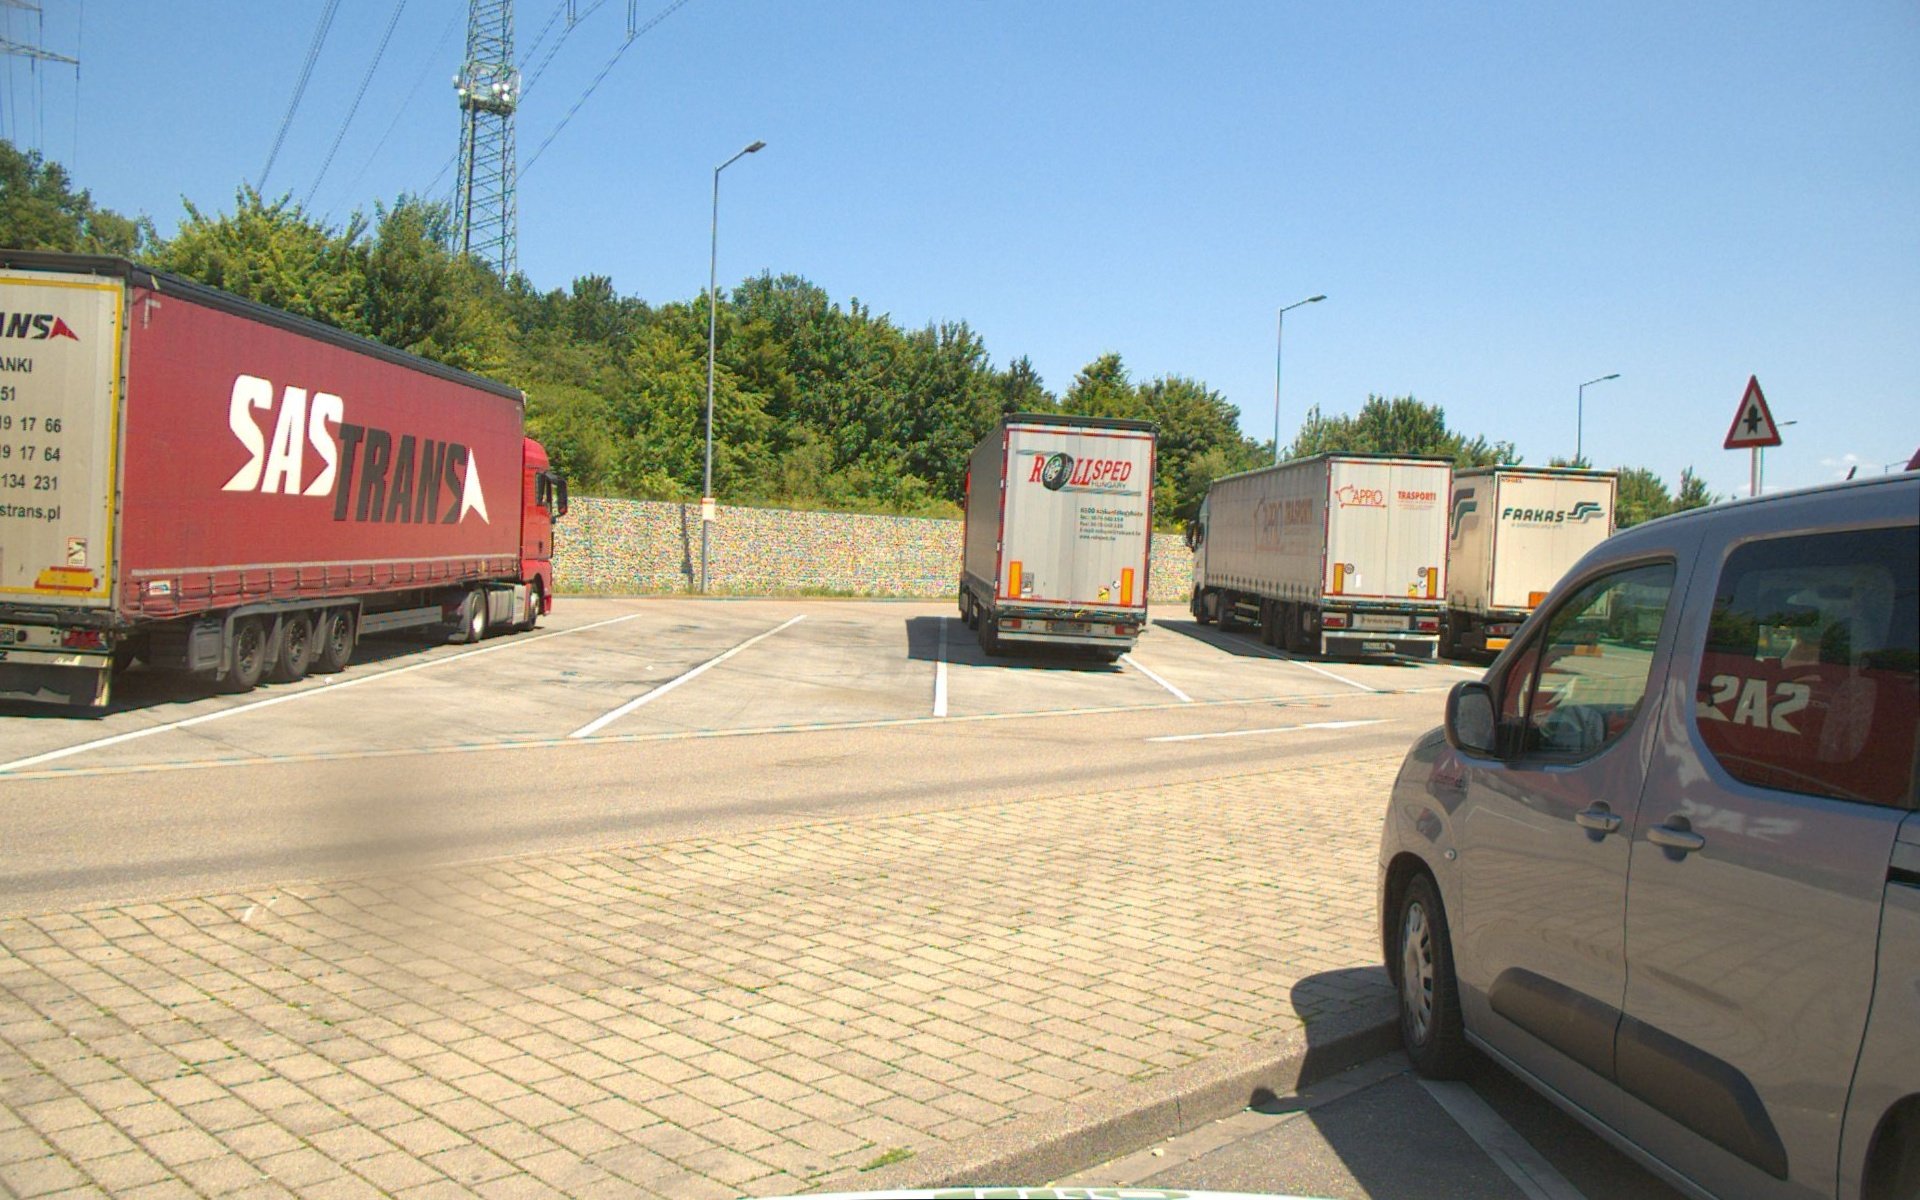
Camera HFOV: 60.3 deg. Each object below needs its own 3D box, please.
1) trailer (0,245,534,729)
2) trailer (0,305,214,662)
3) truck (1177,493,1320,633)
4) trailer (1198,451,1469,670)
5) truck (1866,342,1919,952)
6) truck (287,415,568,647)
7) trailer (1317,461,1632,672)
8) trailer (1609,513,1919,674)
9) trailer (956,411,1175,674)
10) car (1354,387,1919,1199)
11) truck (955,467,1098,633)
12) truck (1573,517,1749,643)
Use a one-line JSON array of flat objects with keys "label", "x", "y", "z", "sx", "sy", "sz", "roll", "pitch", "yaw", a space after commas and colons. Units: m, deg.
[{"label": "trailer", "x": -8.713, "y": -1.296, "z": 21.459, "sx": 2.735, "sy": 4.155, "sz": 14.131, "roll": 3, "pitch": 2, "yaw": -1}, {"label": "trailer", "x": -12.539, "y": -1.341, "z": 17.736, "sx": 2.739, "sy": 4.155, "sz": 14.131, "roll": 3, "pitch": 2, "yaw": -1}, {"label": "truck", "x": 8.066, "y": -1.103, "z": 46.974, "sx": 2.804, "sy": 3.582, "sz": 5.900, "roll": 3, "pitch": 2, "yaw": -1}, {"label": "trailer", "x": 8.184, "y": -1.038, "z": 38.874, "sx": 2.754, "sy": 4.058, "sz": 14.395, "roll": 3, "pitch": 2, "yaw": -1}, {"label": "truck", "x": 5.014, "y": 0.198, "z": 5.003, "sx": 1.937, "sy": 2.668, "sz": 5.307, "roll": 1, "pitch": 0, "yaw": 4}, {"label": "truck", "x": -8.778, "y": -1.158, "z": 28.029, "sx": 2.793, "sy": 3.385, "sz": 5.900, "roll": 3, "pitch": 2, "yaw": -1}, {"label": "trailer", "x": 11.746, "y": -0.944, "z": 39.979, "sx": 2.754, "sy": 4.058, "sz": 14.395, "roll": 3, "pitch": 2, "yaw": -1}, {"label": "trailer", "x": 21.856, "y": -0.400, "z": 44.530, "sx": 2.754, "sy": 3.568, "sz": 14.395, "roll": 3, "pitch": 2, "yaw": -1}, {"label": "trailer", "x": 1.671, "y": -1.201, "z": 33.665, "sx": 3.070, "sy": 4.058, "sz": 14.393, "roll": 3, "pitch": 2, "yaw": -1}, {"label": "car", "x": 2.453, "y": 0.601, "z": 3.880, "sx": 1.832, "sy": 1.895, "sz": 4.174, "roll": 3, "pitch": 1, "yaw": -2}, {"label": "truck", "x": 1.514, "y": -1.249, "z": 40.556, "sx": 3.041, "sy": 3.628, "sz": 5.900, "roll": 3, "pitch": 2, "yaw": -1}, {"label": "truck", "x": 21.778, "y": -0.706, "z": 51.760, "sx": 2.746, "sy": 3.582, "sz": 5.900, "roll": 3, "pitch": 2, "yaw": -1}]
